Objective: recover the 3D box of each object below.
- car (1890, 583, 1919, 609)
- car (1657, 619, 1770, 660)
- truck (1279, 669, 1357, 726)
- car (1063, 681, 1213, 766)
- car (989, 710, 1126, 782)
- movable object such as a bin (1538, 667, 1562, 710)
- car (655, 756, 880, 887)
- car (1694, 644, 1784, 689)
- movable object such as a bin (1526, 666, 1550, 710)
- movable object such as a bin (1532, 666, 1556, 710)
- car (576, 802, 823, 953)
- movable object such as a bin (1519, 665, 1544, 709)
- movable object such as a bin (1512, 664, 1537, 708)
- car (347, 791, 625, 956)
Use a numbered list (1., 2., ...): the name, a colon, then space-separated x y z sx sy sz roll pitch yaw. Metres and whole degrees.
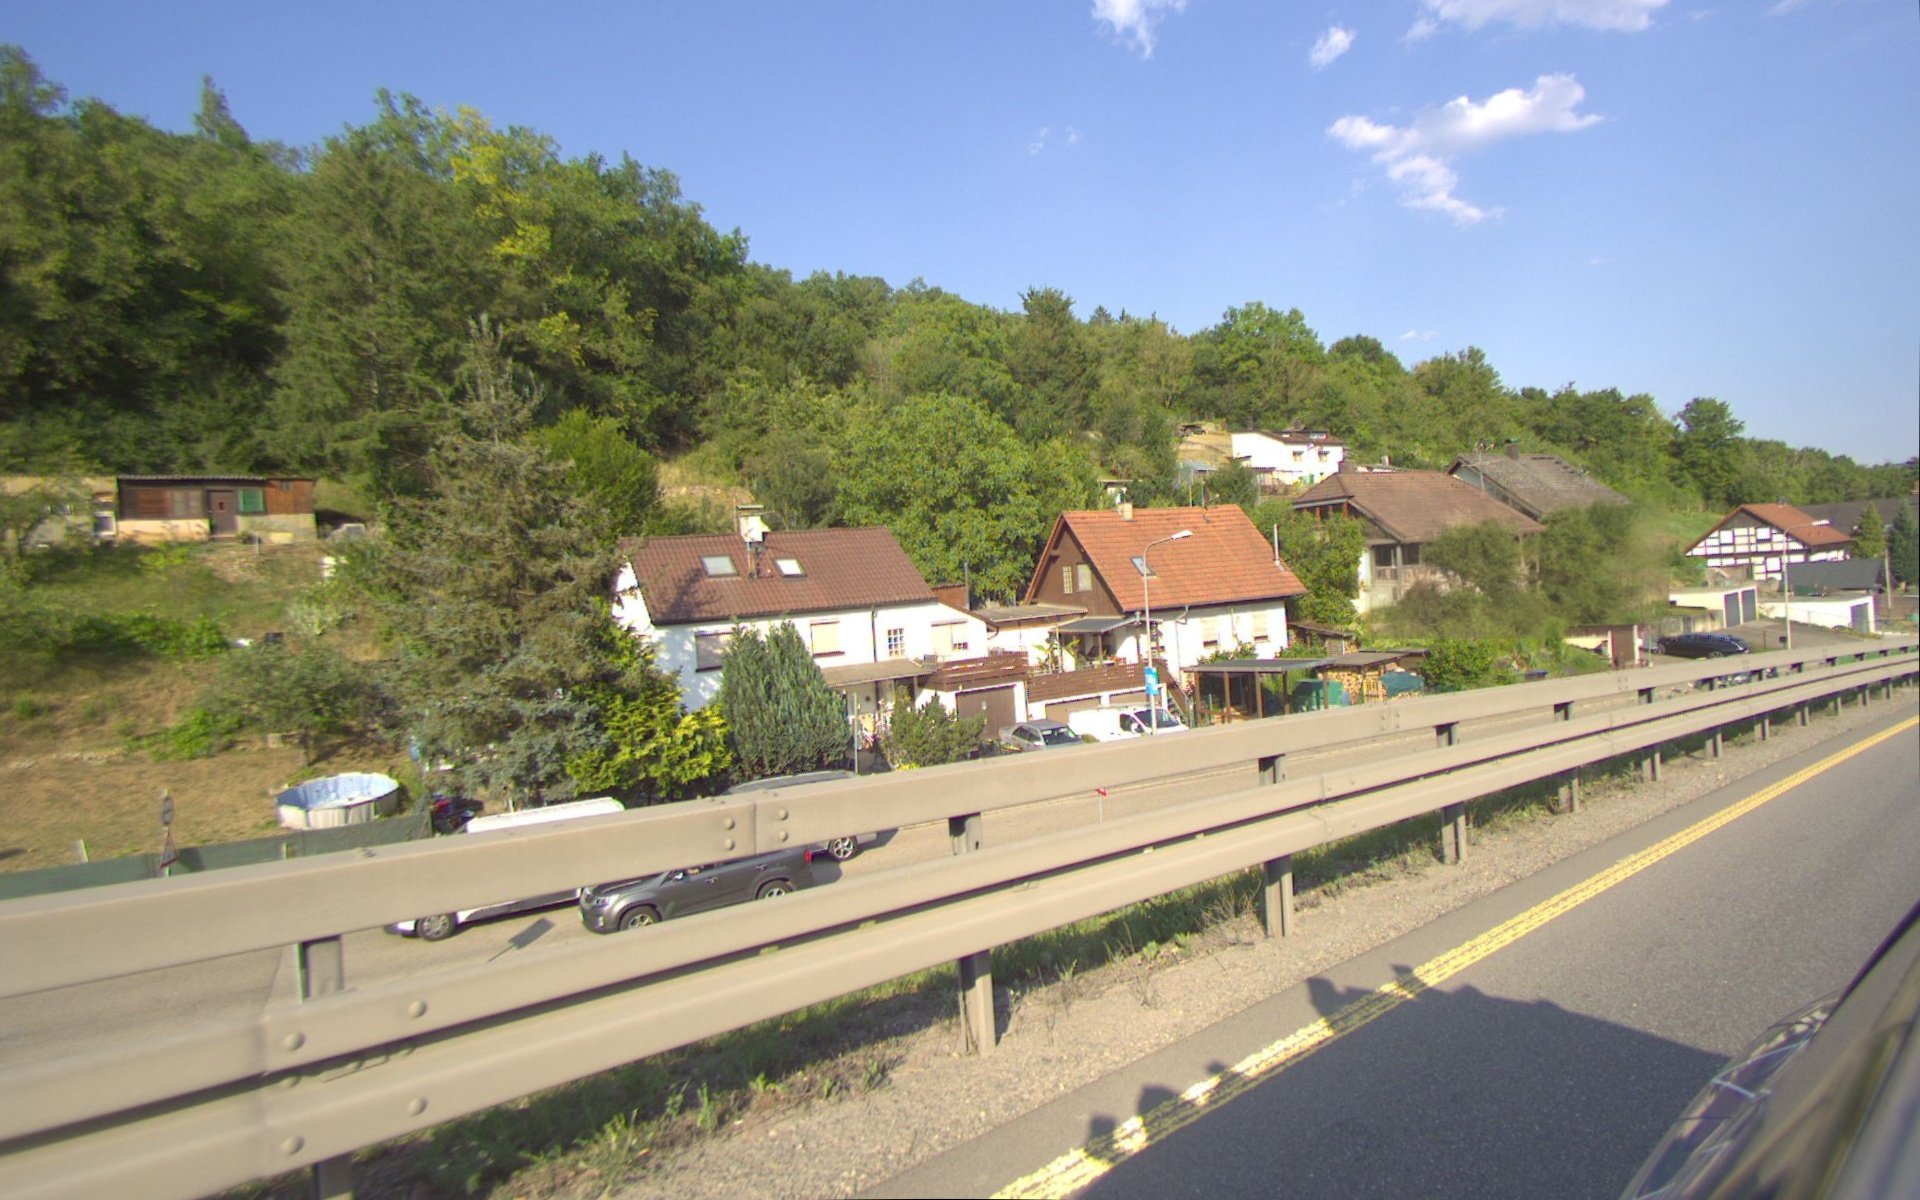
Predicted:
1. car: 75.110 -0.275 78.510 1.717 1.861 4.003 -3 4 -34
2. car: 41.786 2.150 56.230 1.961 1.542 4.517 -3 8 -31
3. truck: 14.473 3.917 41.155 1.967 1.760 3.991 -7 -2 7
4. car: 6.117 4.235 35.627 1.961 2.292 5.486 -2 1 -32
5. car: 3.102 4.716 33.413 1.682 1.576 5.109 -2 1 -32
6. movable object such as a bin: 25.569 3.841 43.842 0.405 1.794 0.491 -3 -8 -27
7. car: -4.511 5.101 23.896 4.768 1.940 2.004 -3 2 -30
8. car: 35.558 3.032 46.202 3.545 1.619 1.774 -5 -4 -27
9. movable object such as a bin: 24.820 3.782 43.449 0.405 1.794 0.491 -3 -8 -27
10. movable object such as a bin: 25.189 3.799 43.650 0.405 1.794 0.491 -3 -8 -27
11. car: -5.188 5.427 20.339 4.411 1.807 1.870 -2 1 -32
12. movable object such as a bin: 24.435 3.719 43.274 0.400 1.794 0.537 -3 -8 -27
13. movable object such as a bin: 24.046 3.656 43.101 0.408 1.794 0.531 -3 -8 -27
14. car: -9.709 5.477 20.901 4.955 2.010 1.870 -3 2 -32
